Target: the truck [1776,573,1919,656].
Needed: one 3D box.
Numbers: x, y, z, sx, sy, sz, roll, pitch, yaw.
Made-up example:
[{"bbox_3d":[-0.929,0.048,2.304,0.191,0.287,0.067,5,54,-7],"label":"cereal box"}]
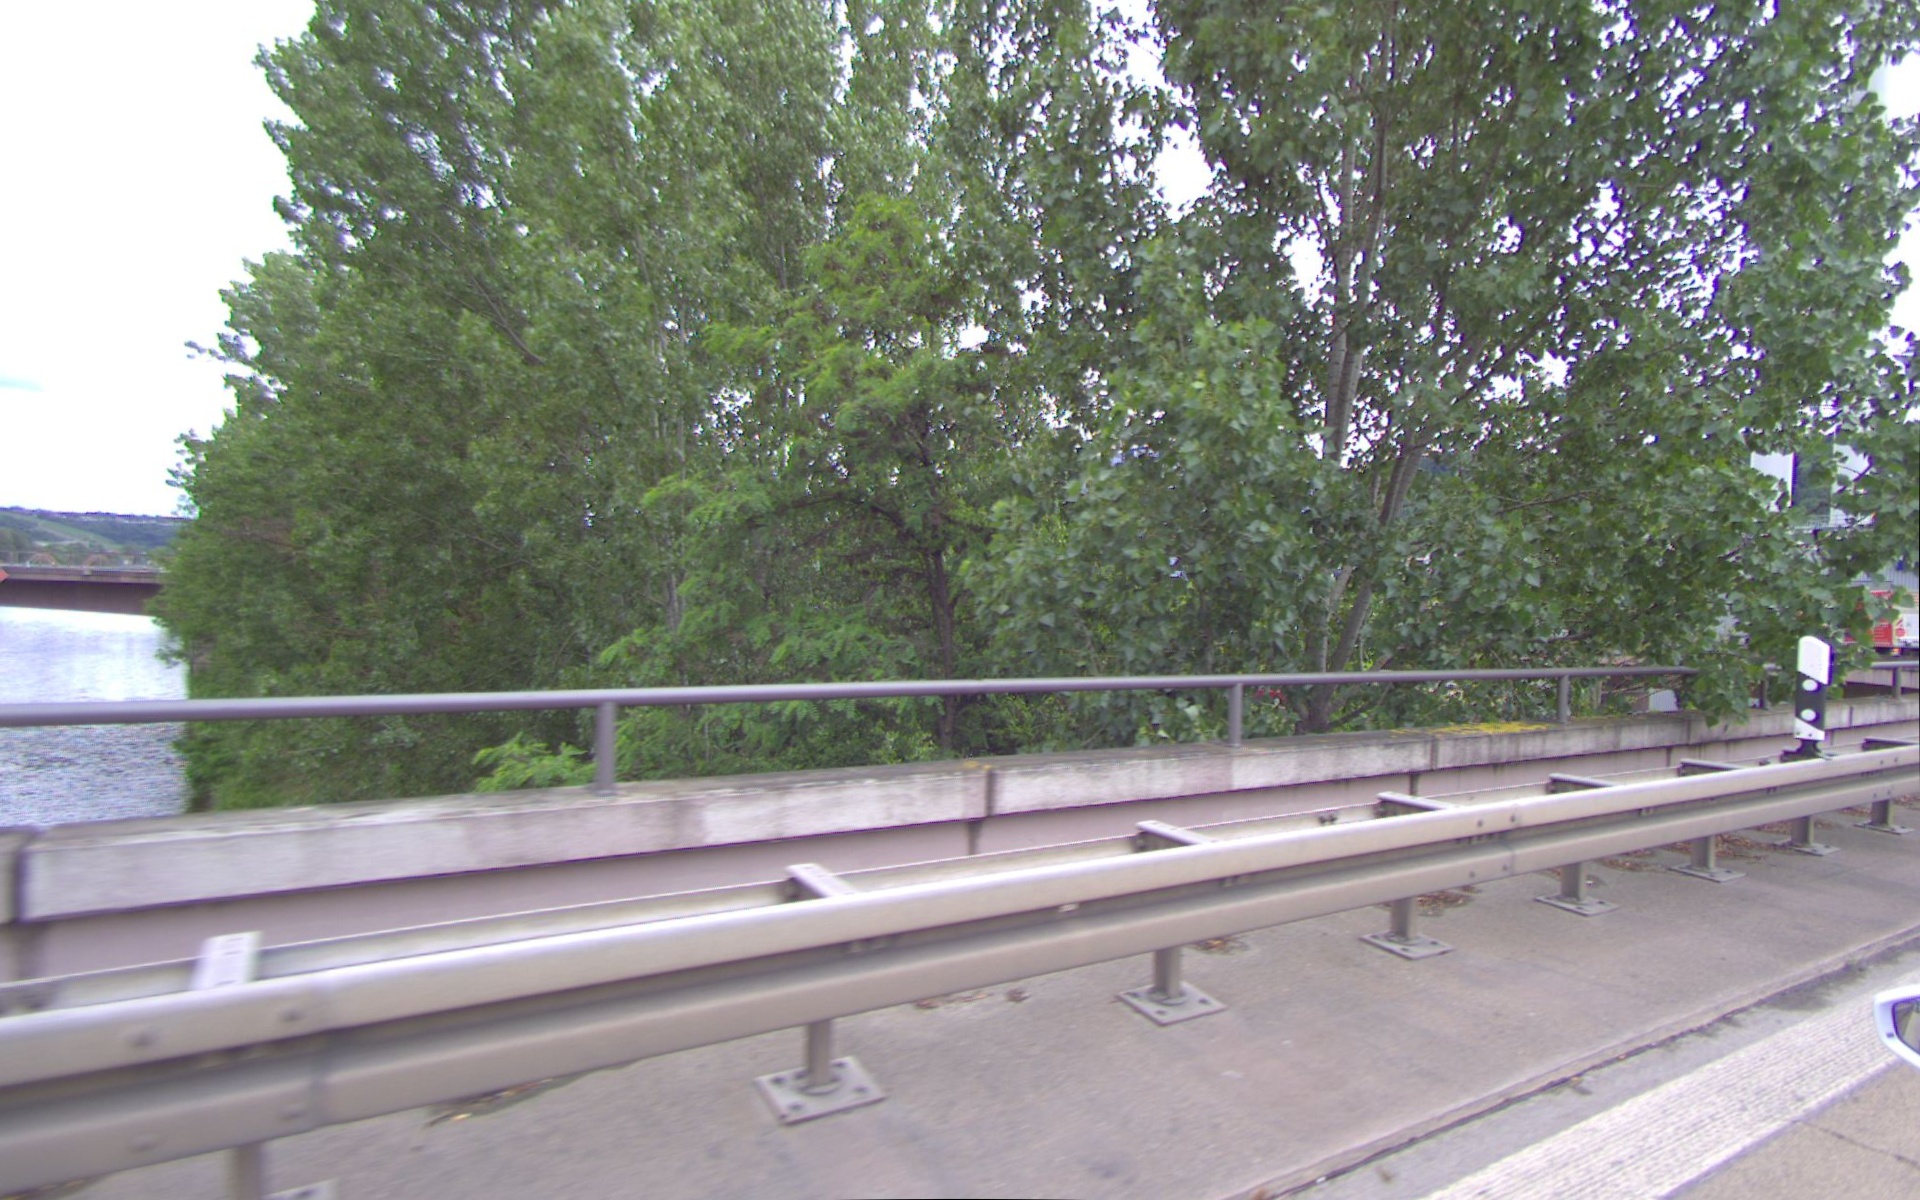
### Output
[{"bbox_3d":[44.032,0.715,49.020,2.999,3.722,7.932,2,0,10],"label":"truck"}]
